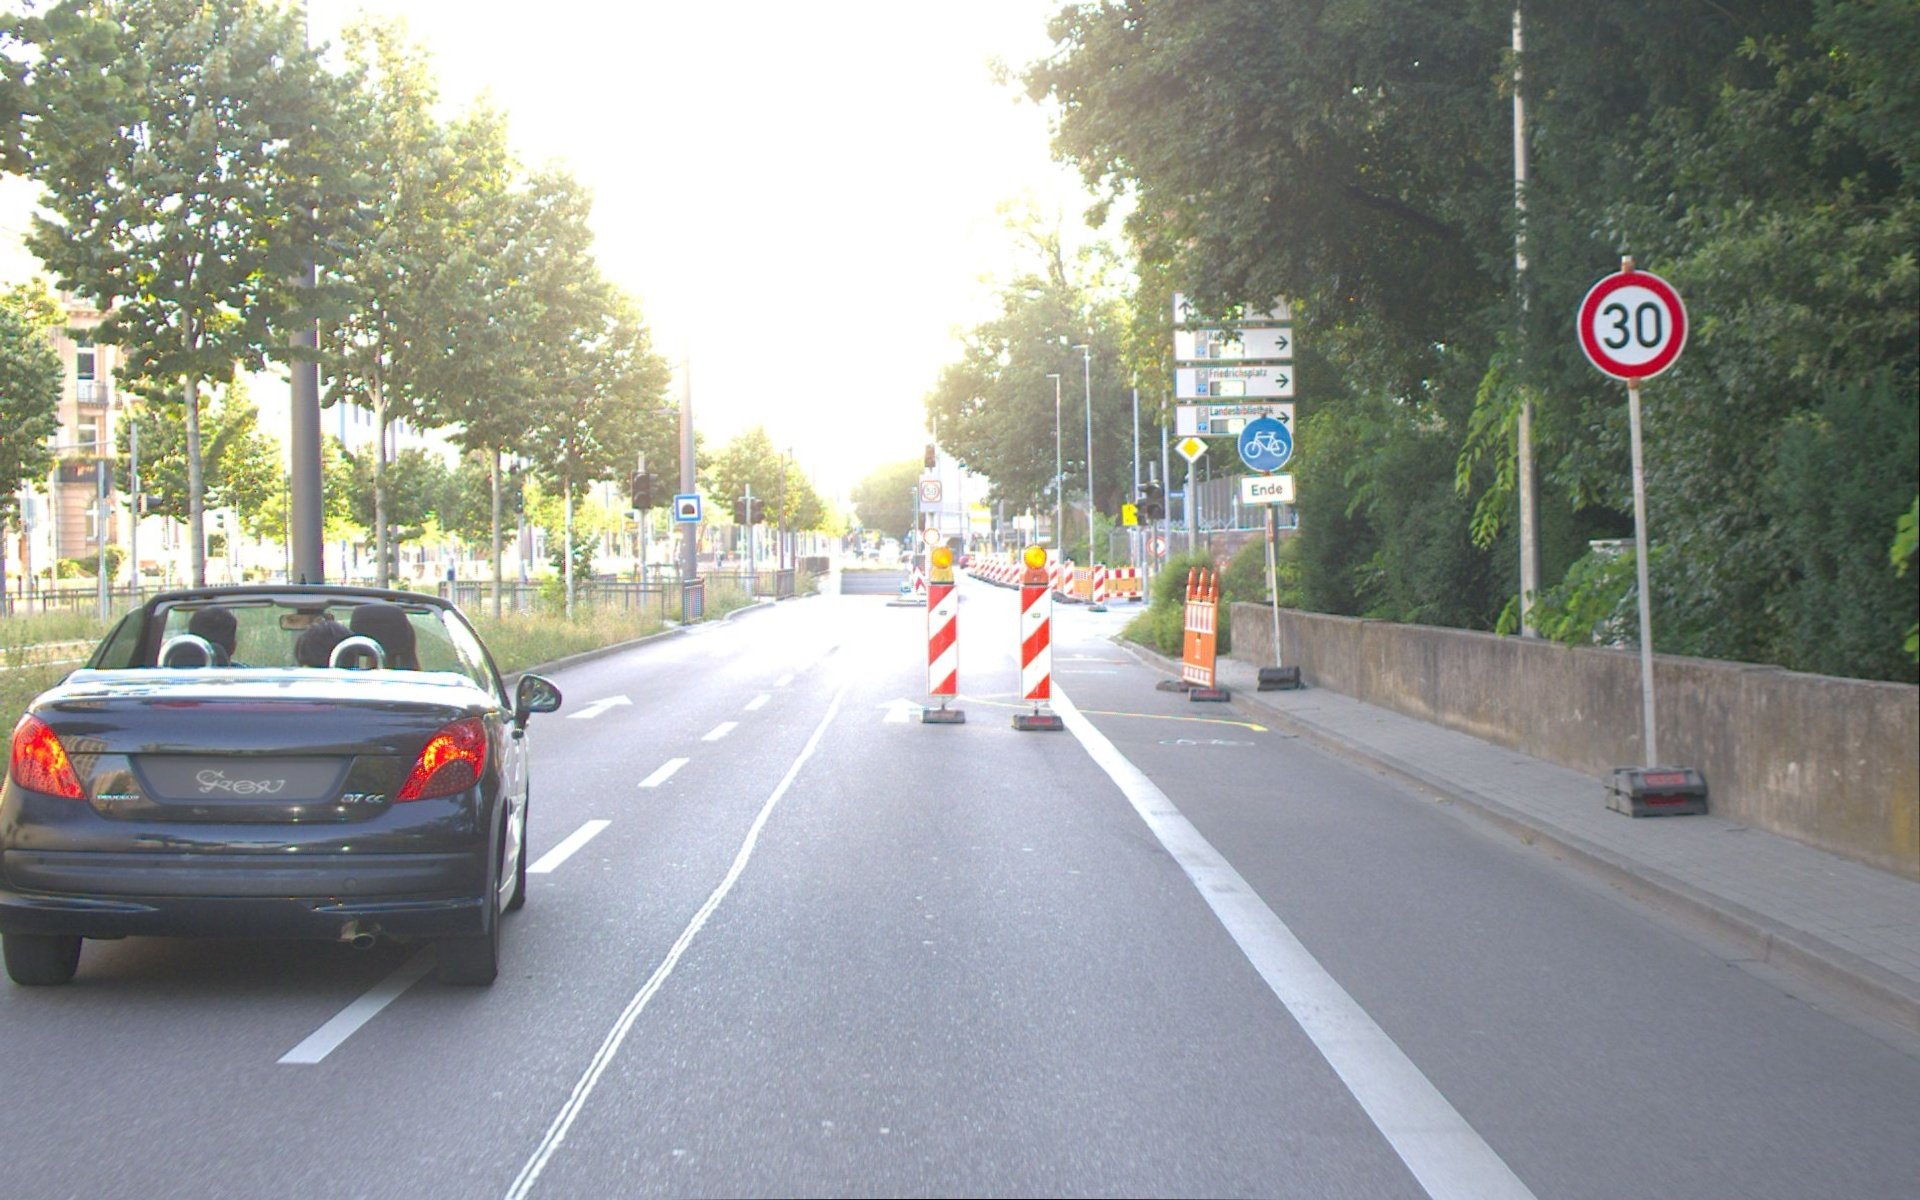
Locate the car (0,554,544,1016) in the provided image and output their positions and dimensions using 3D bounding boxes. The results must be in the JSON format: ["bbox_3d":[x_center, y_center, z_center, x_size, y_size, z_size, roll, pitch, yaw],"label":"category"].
[{"bbox_3d":[-2.511,0.575,13.005,1.718,1.444,3.902,1,1,-5],"label":"car"}]
